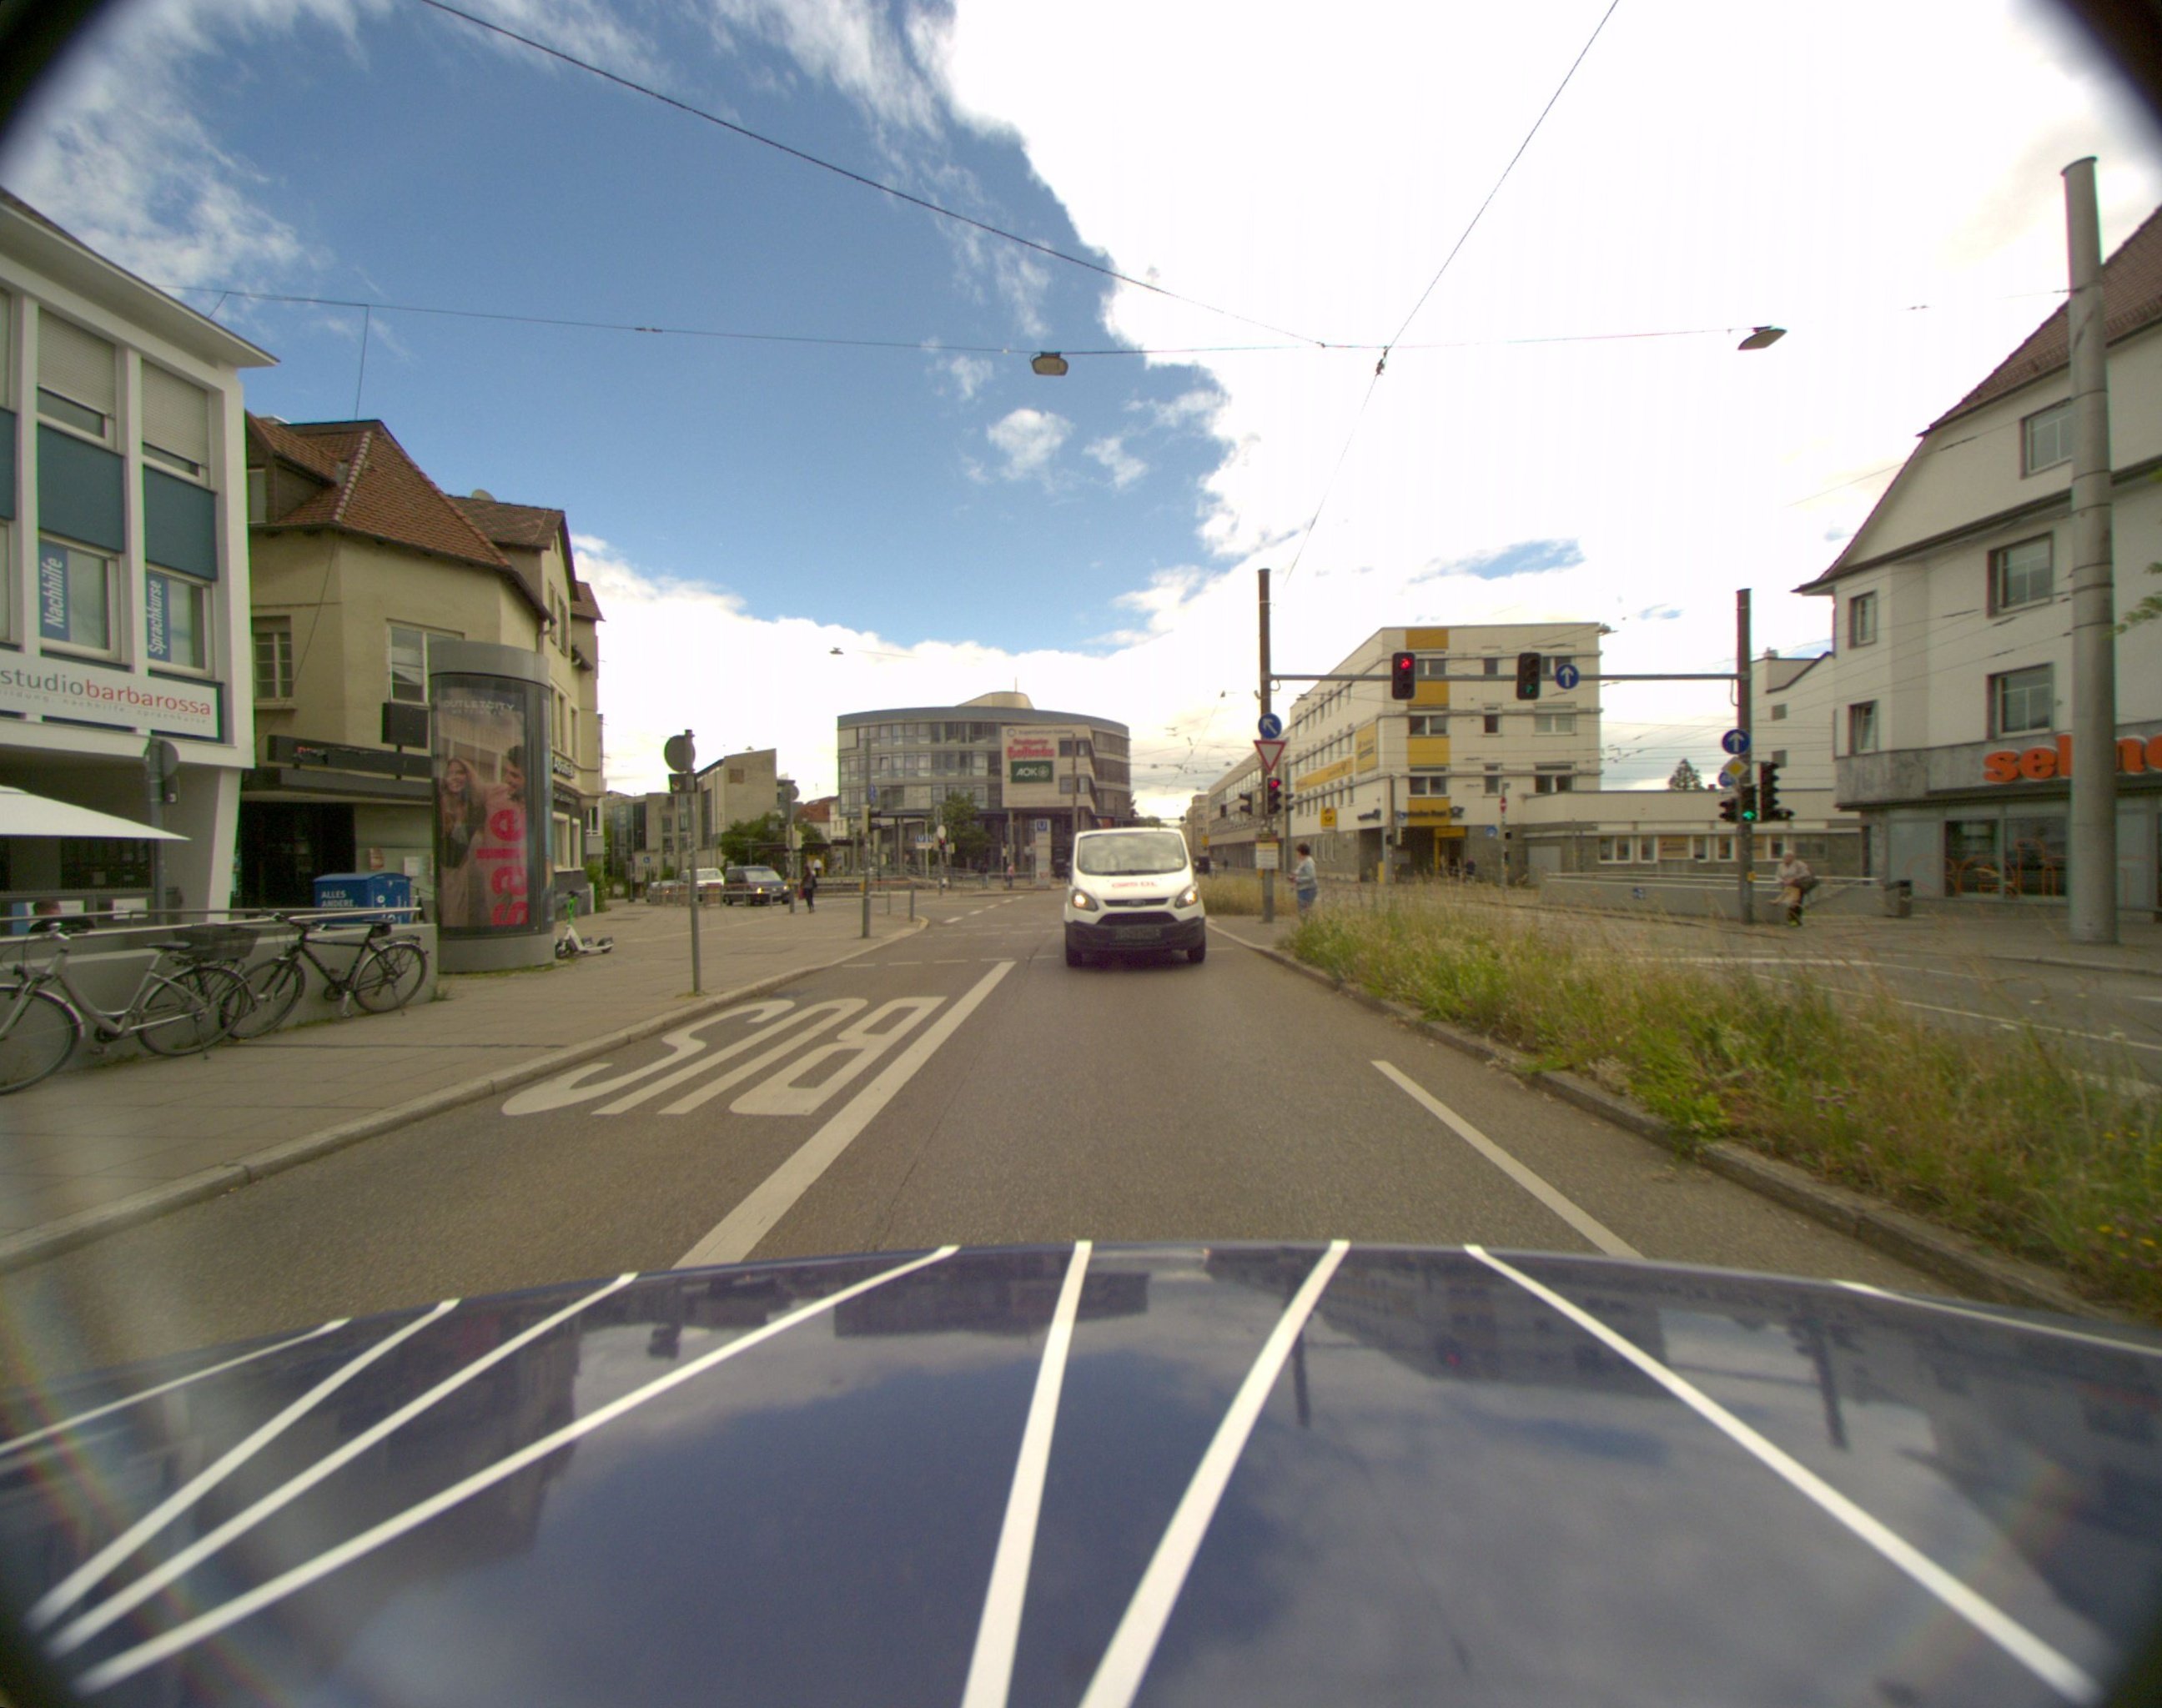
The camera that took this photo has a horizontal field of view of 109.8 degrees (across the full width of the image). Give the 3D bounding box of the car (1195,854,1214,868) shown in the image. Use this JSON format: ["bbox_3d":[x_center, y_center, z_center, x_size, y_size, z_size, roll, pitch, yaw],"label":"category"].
[{"bbox_3d":[17.791,1.021,109.665,1.998,2.002,4.487,-2,0,1],"label":"car"}]

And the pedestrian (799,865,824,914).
[{"bbox_3d":[-9.159,1.206,25.784,0.589,1.612,0.743,-4,0,-28],"label":"pedestrian"}]

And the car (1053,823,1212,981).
[{"bbox_3d":[0.923,0.639,12.312,1.997,2.002,5.002,-2,0,6],"label":"car"}]

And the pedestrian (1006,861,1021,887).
[{"bbox_3d":[-4.269,1.273,48.013,0.589,1.625,0.525,-4,0,-42],"label":"pedestrian"}]

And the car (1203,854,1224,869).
[{"bbox_3d":[17.998,0.997,103.457,1.998,2.002,4.487,-2,0,1],"label":"car"}]

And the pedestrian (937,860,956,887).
[{"bbox_3d":[-8.241,1.199,46.563,0.808,1.637,0.886,-1,0,-34],"label":"pedestrian"}]

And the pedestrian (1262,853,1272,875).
[{"bbox_3d":[15.286,0.812,62.555,0.587,1.792,0.526,-4,0,3],"label":"pedestrian"}]

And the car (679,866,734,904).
[{"bbox_3d":[-20.765,1.665,42.043,1.884,1.884,4.915,-2,0,-36],"label":"car"}]

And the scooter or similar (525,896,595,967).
[{"bbox_3d":[-9.105,1.337,13.323,0.315,1.126,1.208,-1,0,4],"label":"scooter or similar"}]

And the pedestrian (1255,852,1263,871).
[{"bbox_3d":[17.581,0.757,74.917,0.587,1.792,0.526,-4,0,3],"label":"pedestrian"}]

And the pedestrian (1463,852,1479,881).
[{"bbox_3d":[21.873,0.696,42.590,0.587,1.625,0.615,-1,0,3],"label":"pedestrian"}]

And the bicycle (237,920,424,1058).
[{"bbox_3d":[-6.908,1.193,7.078,0.274,1.047,1.388,-1,0,4],"label":"bicycle"}]

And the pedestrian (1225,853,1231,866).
[{"bbox_3d":[21.115,0.839,109.221,0.587,1.792,0.526,-4,0,3],"label":"pedestrian"}]

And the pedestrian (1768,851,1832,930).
[{"bbox_3d":[15.489,0.782,16.378,0.702,1.625,0.614,-4,0,-8],"label":"pedestrian"}]

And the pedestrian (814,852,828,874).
[{"bbox_3d":[-20.543,0.716,60.064,0.613,1.733,0.697,-4,0,39],"label":"pedestrian"}]

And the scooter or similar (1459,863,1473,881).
[{"bbox_3d":[21.904,1.016,43.218,0.508,0.971,0.617,-1,0,0],"label":"scooter or similar"}]

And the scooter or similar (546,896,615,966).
[{"bbox_3d":[-8.757,1.323,13.334,0.315,1.126,1.208,-1,0,4],"label":"scooter or similar"}]

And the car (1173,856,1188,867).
[{"bbox_3d":[15.723,1.170,120.145,2.073,1.728,4.694,1,0,4],"label":"car"}]

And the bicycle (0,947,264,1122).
[{"bbox_3d":[-6.938,1.245,5.585,0.274,0.968,1.388,-1,0,4],"label":"bicycle"}]

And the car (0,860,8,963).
[{"bbox_3d":[-19.460,0.971,11.657,3.974,1.656,1.736,-2,0,7],"label":"car"}]

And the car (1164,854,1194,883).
[{"bbox_3d":[7.191,1.030,55.722,1.997,2.002,4.489,-2,0,7],"label":"car"}]

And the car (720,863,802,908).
[{"bbox_3d":[-14.850,1.392,35.092,1.884,1.884,4.914,-2,0,-43],"label":"car"}]

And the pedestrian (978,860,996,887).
[{"bbox_3d":[-5.858,1.196,47.343,0.847,1.625,0.644,-4,0,-30],"label":"pedestrian"}]

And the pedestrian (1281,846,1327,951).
[{"bbox_3d":[3.552,0.693,12.132,0.504,1.625,0.663,-1,0,-3],"label":"pedestrian"}]
